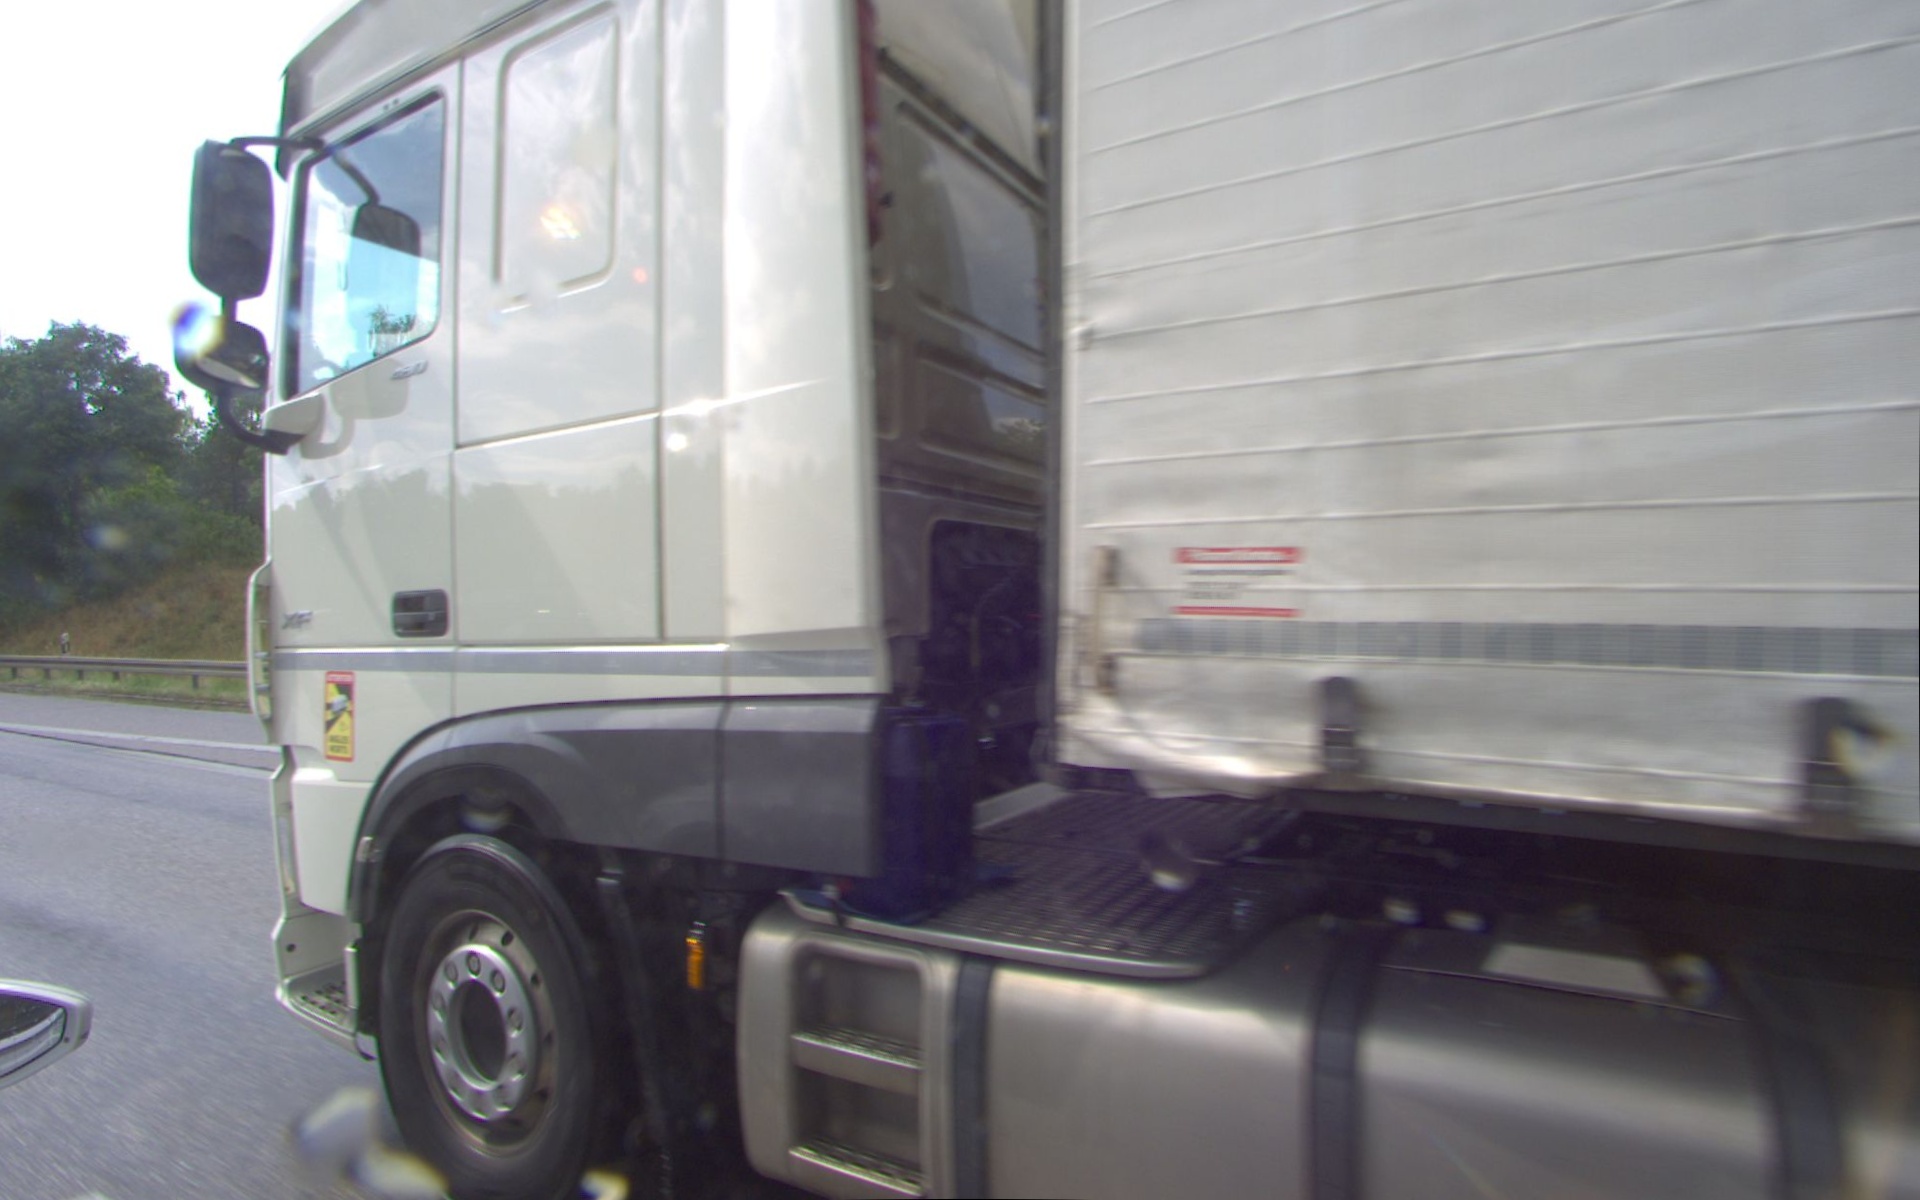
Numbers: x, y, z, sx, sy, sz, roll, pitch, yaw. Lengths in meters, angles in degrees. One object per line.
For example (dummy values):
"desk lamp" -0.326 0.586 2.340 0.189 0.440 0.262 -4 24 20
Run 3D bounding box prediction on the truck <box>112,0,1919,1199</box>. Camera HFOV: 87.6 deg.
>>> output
"truck" 1.054 -0.460 2.747 6.302 3.940 3.280 -1 -2 31
